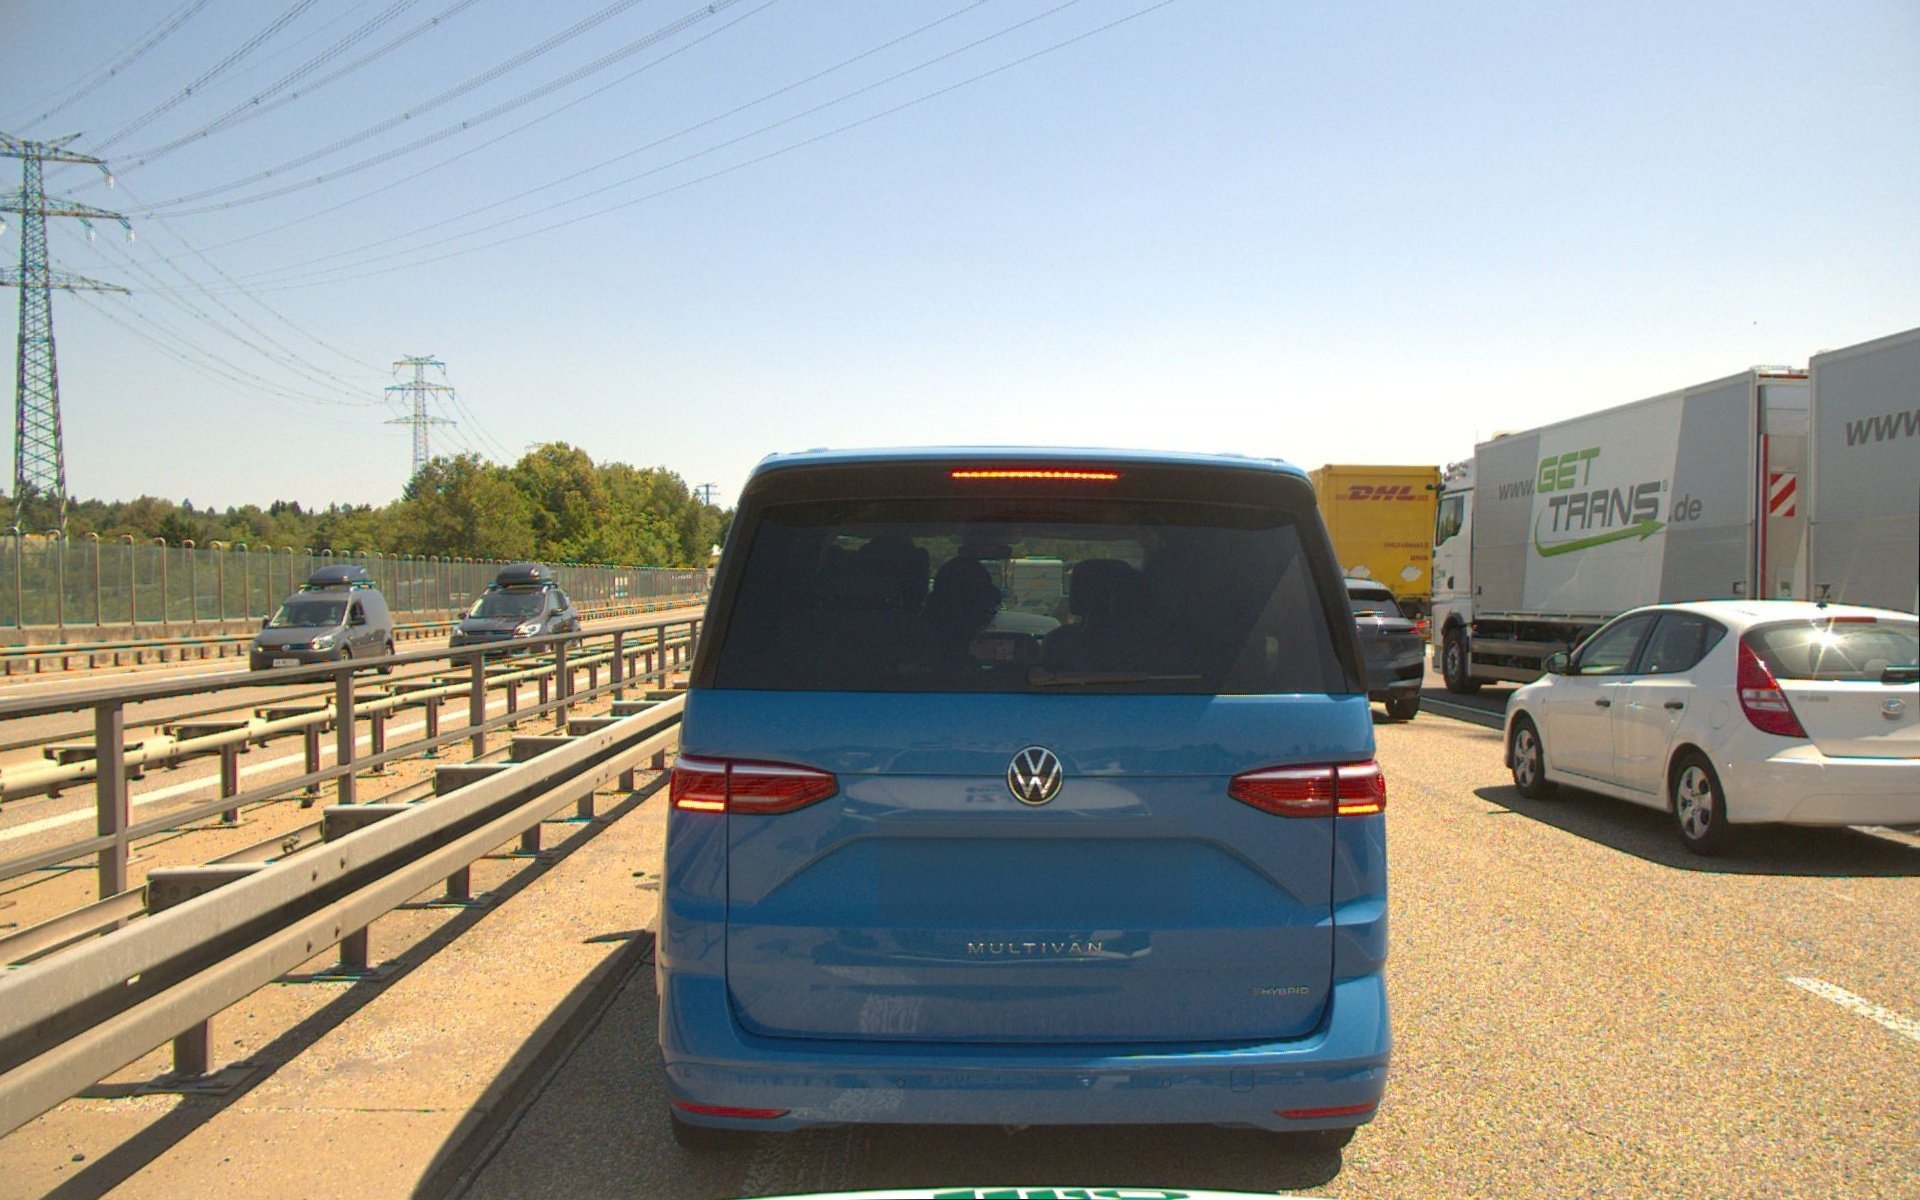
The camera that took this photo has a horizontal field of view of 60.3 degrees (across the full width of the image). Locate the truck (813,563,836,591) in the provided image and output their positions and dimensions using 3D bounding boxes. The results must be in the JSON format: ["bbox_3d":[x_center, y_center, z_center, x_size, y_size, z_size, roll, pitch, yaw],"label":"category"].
[{"bbox_3d":[-17.658,-2.968,215.527,2.510,3.418,8.860,-2,0,-2],"label":"truck"}]

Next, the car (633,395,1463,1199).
[{"bbox_3d":[0.171,0.507,5.627,1.783,1.890,4.074,1,0,-1],"label":"car"}]

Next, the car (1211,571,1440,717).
[{"bbox_3d":[4.528,0.484,21.136,1.922,1.673,4.292,0,0,-1],"label":"car"}]

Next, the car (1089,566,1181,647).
[{"bbox_3d":[4.551,0.141,43.637,1.922,2.028,4.292,0,0,-1],"label":"car"}]

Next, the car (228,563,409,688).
[{"bbox_3d":[-12.826,0.464,33.367,1.953,2.254,4.267,-3,0,-1],"label":"car"}]

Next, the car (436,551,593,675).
[{"bbox_3d":[-8.587,0.209,32.246,1.825,2.168,4.268,-3,0,0],"label":"car"}]

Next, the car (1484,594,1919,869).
[{"bbox_3d":[5.127,0.711,11.187,1.752,1.481,4.292,0,0,-1],"label":"car"}]

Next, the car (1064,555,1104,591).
[{"bbox_3d":[7.317,-1.565,97.670,1.953,2.049,4.460,-1,0,-1],"label":"car"}]

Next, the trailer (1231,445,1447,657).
[{"bbox_3d":[8.540,-1.018,38.568,2.806,4.313,9.010,1,0,-1],"label":"trailer"}]

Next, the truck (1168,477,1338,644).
[{"bbox_3d":[8.318,-1.049,48.594,2.778,4.317,11.008,1,0,-1],"label":"truck"}]

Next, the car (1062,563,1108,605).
[{"bbox_3d":[6.298,-0.772,83.578,1.953,2.049,3.999,1,0,-1],"label":"car"}]

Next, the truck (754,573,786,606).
[{"bbox_3d":[-19.856,-1.102,173.353,2.468,3.164,8.720,-4,0,-2],"label":"truck"}]

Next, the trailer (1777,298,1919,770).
[{"bbox_3d":[9.010,-0.513,11.425,2.643,3.765,8.013,0,0,-1],"label":"trailer"}]

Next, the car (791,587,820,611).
[{"bbox_3d":[-10.181,-0.054,109.071,1.586,1.489,3.701,-2,0,-1],"label":"car"}]

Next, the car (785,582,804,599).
[{"bbox_3d":[-21.935,-1.316,219.647,2.040,2.186,4.311,-2,1,-1],"label":"car"}]

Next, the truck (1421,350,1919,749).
[{"bbox_3d":[8.787,-0.524,20.941,2.603,3.711,11.008,0,0,-1],"label":"truck"}]

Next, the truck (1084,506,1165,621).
[{"bbox_3d":[6.883,-1.479,69.962,2.613,4.562,6.848,1,0,-1],"label":"truck"}]

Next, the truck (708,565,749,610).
[{"bbox_3d":[-18.658,-1.028,133.735,2.447,3.424,5.833,-2,0,-1],"label":"truck"}]

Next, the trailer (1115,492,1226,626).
[{"bbox_3d":[7.807,-1.450,62.844,2.583,4.595,11.299,1,0,-1],"label":"trailer"}]
